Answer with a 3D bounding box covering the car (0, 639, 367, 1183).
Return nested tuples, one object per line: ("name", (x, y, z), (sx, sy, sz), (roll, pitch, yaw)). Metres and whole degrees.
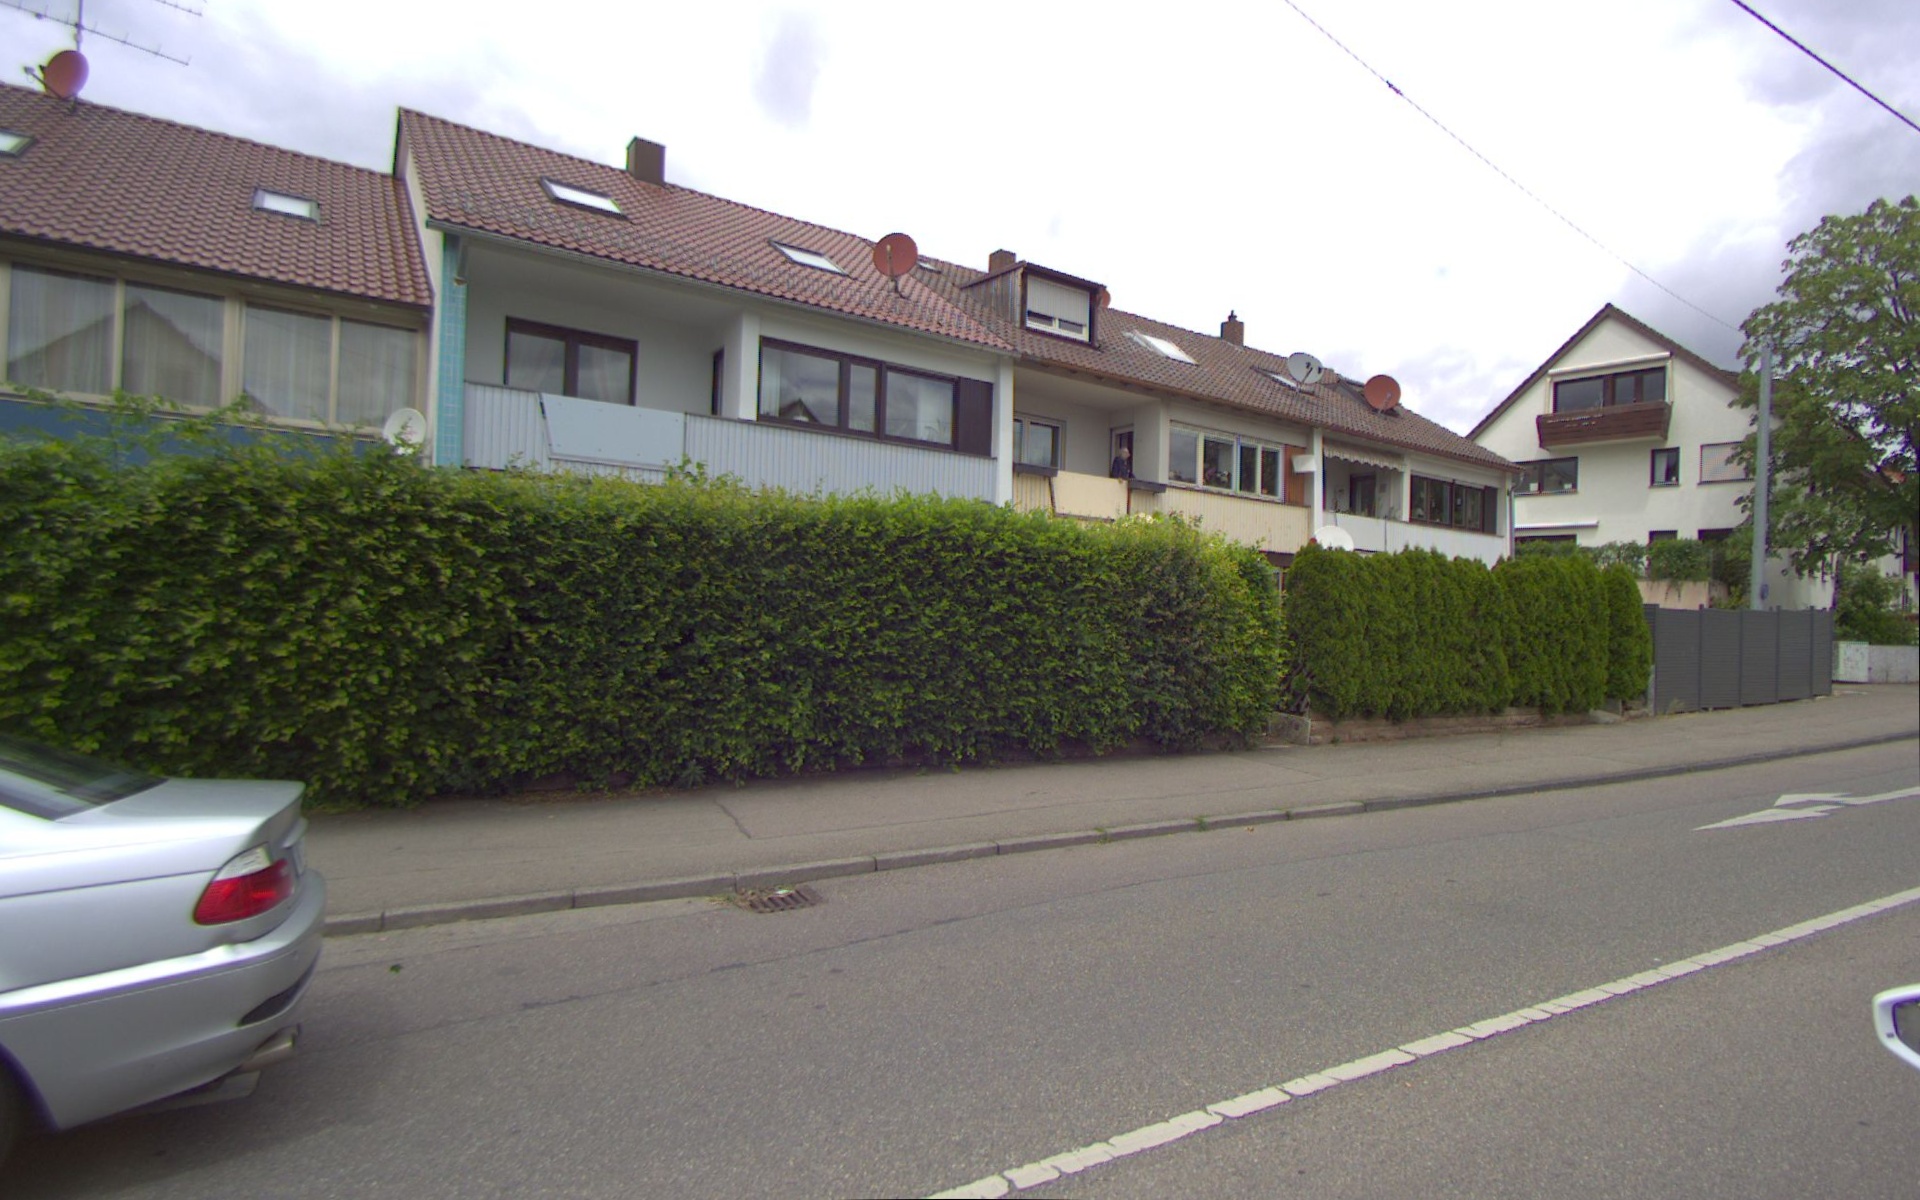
("car", (-3.951, 0.825, 2.669), (4.036, 1.371, 1.705), (2, -6, -31))
